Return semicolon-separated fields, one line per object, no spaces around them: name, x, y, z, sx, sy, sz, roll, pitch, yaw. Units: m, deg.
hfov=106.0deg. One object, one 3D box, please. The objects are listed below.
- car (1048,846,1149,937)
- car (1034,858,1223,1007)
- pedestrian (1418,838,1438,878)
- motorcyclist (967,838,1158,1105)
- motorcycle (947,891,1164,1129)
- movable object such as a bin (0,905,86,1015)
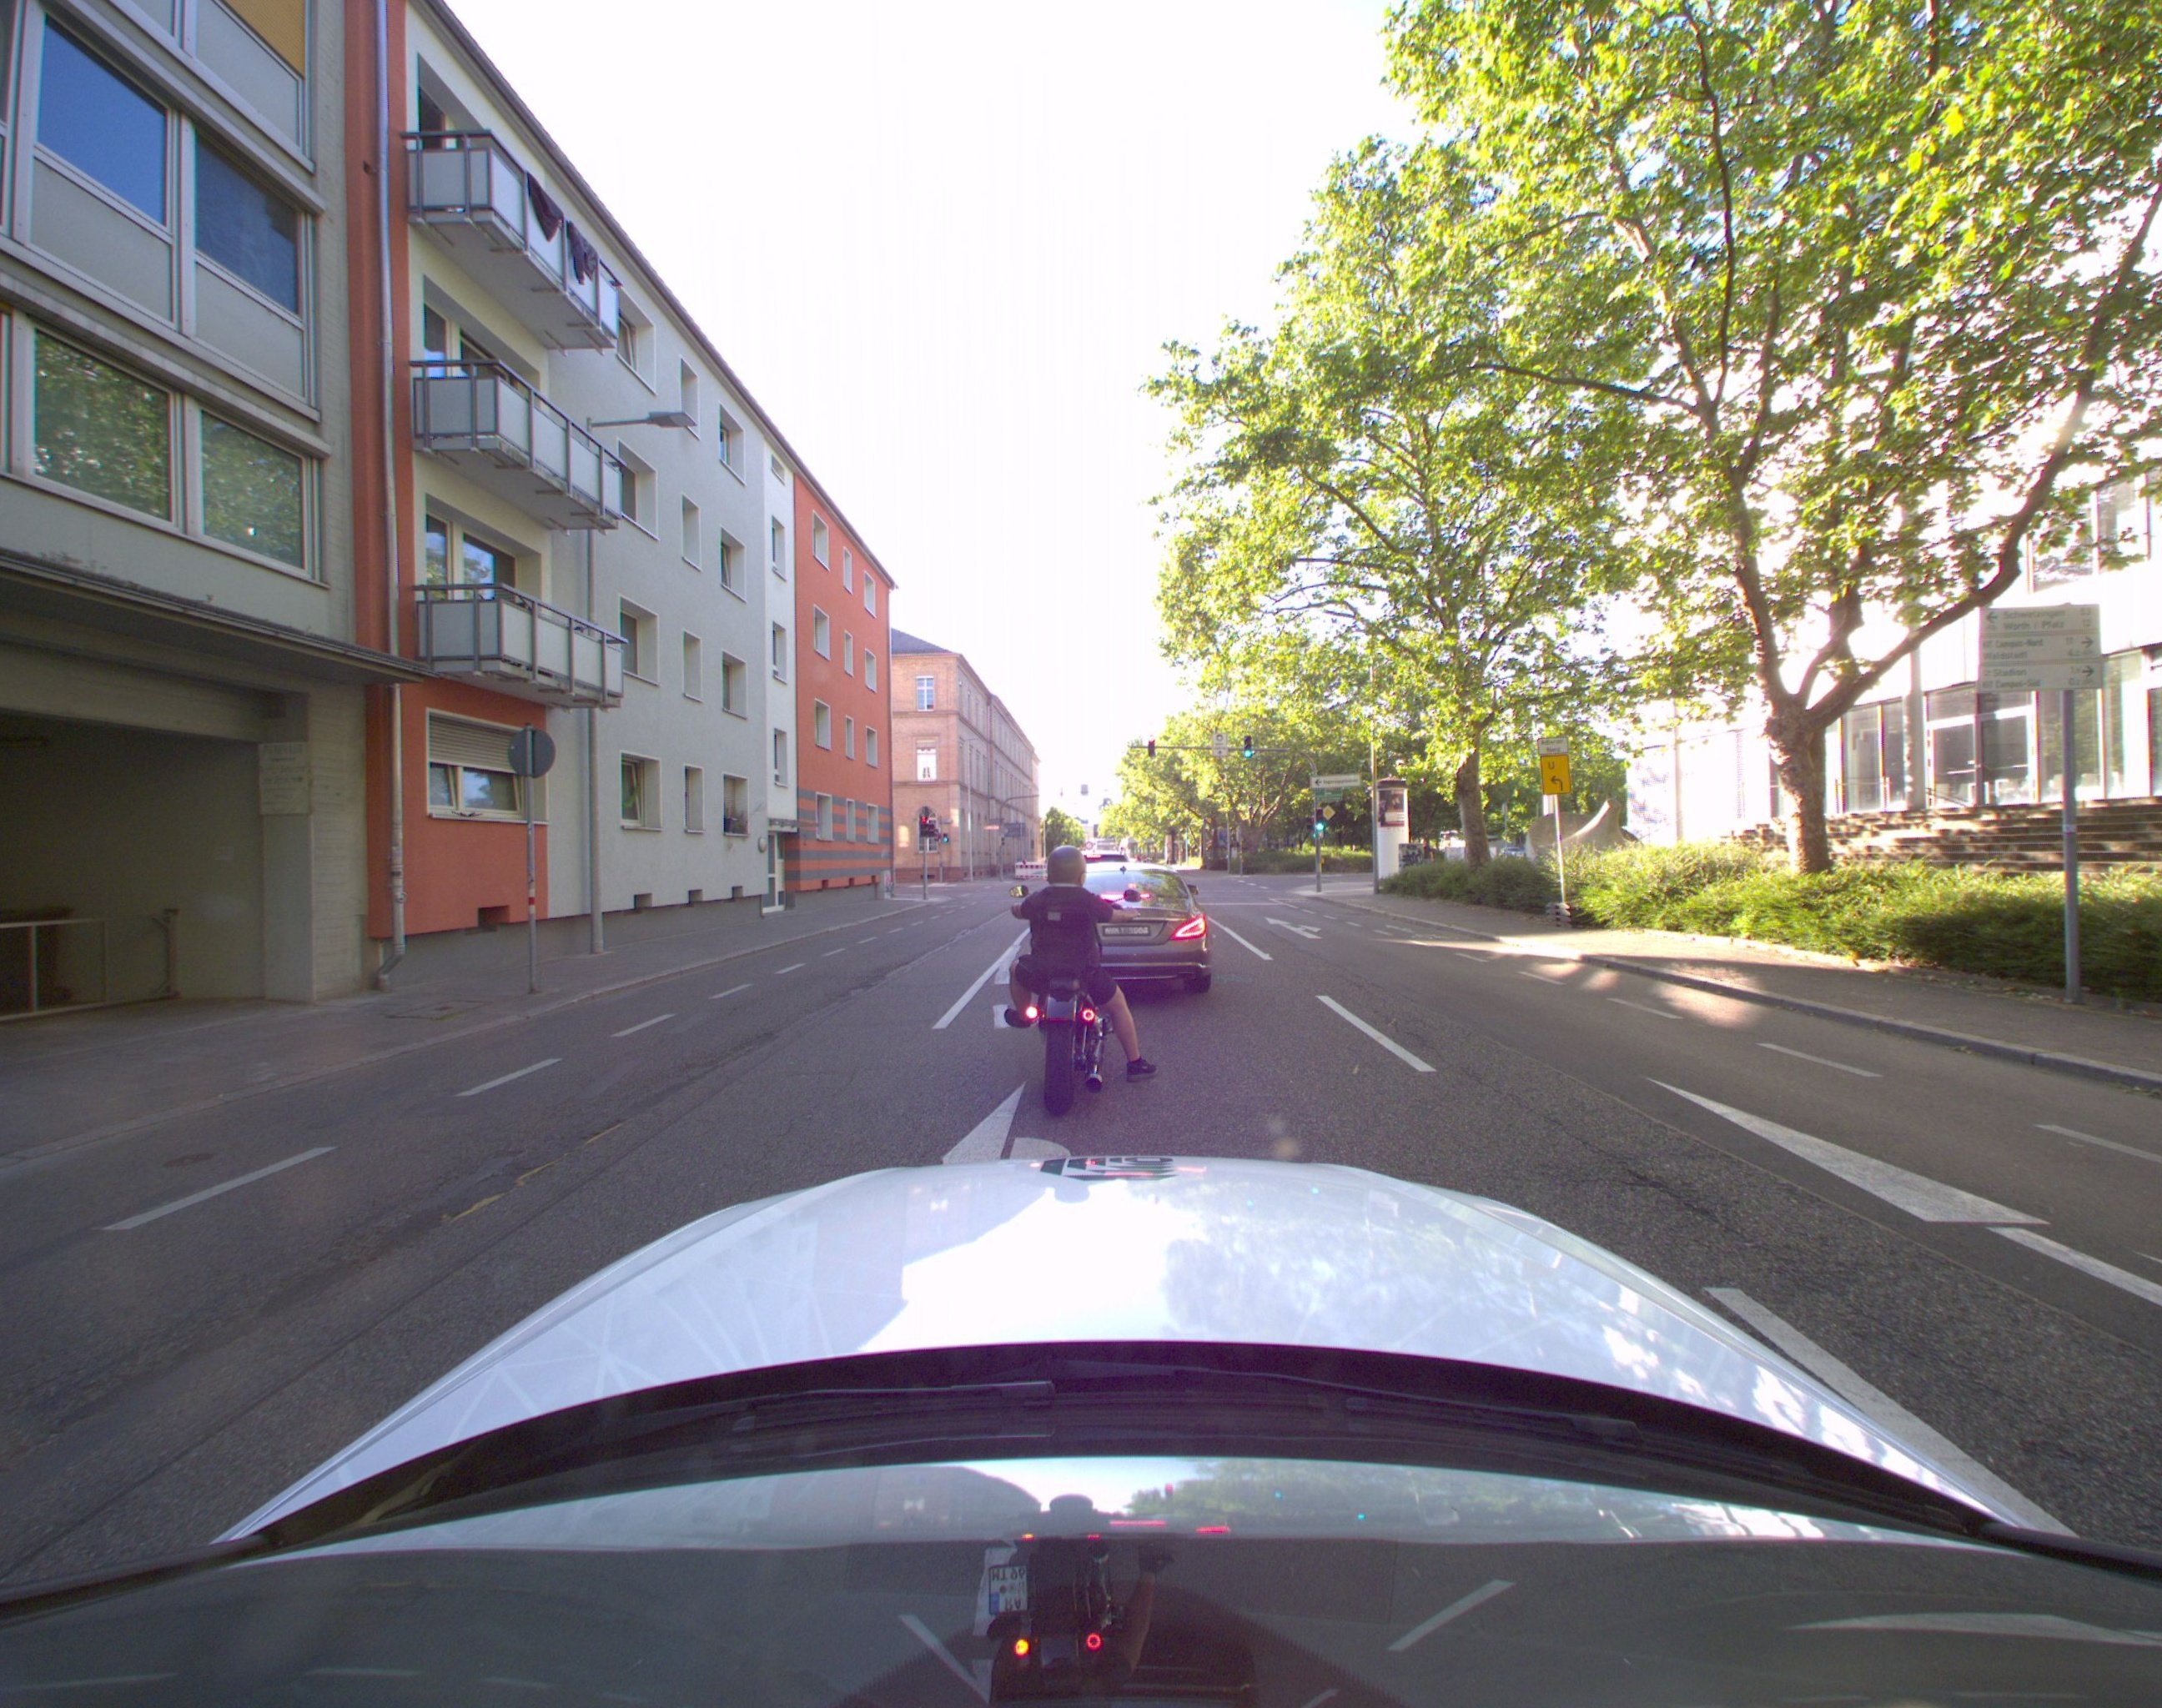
car;0.383;0.705;17.062;1.856;1.678;4.001;0;-1;2
car;0.522;0.774;9.774;1.815;1.437;3.807;0;-1;2
pedestrian;15.540;0.168;36.455;0.730;1.778;0.733;-1;-1;18
motorcyclist;-0.068;0.699;5.398;1.093;1.566;1.074;0;-1;8
motorcycle;-0.040;0.906;5.617;1.111;1.207;2.217;0;-1;8
movable object such as a bin;-11.283;1.107;8.641;0.533;1.079;0.723;0;-1;3
